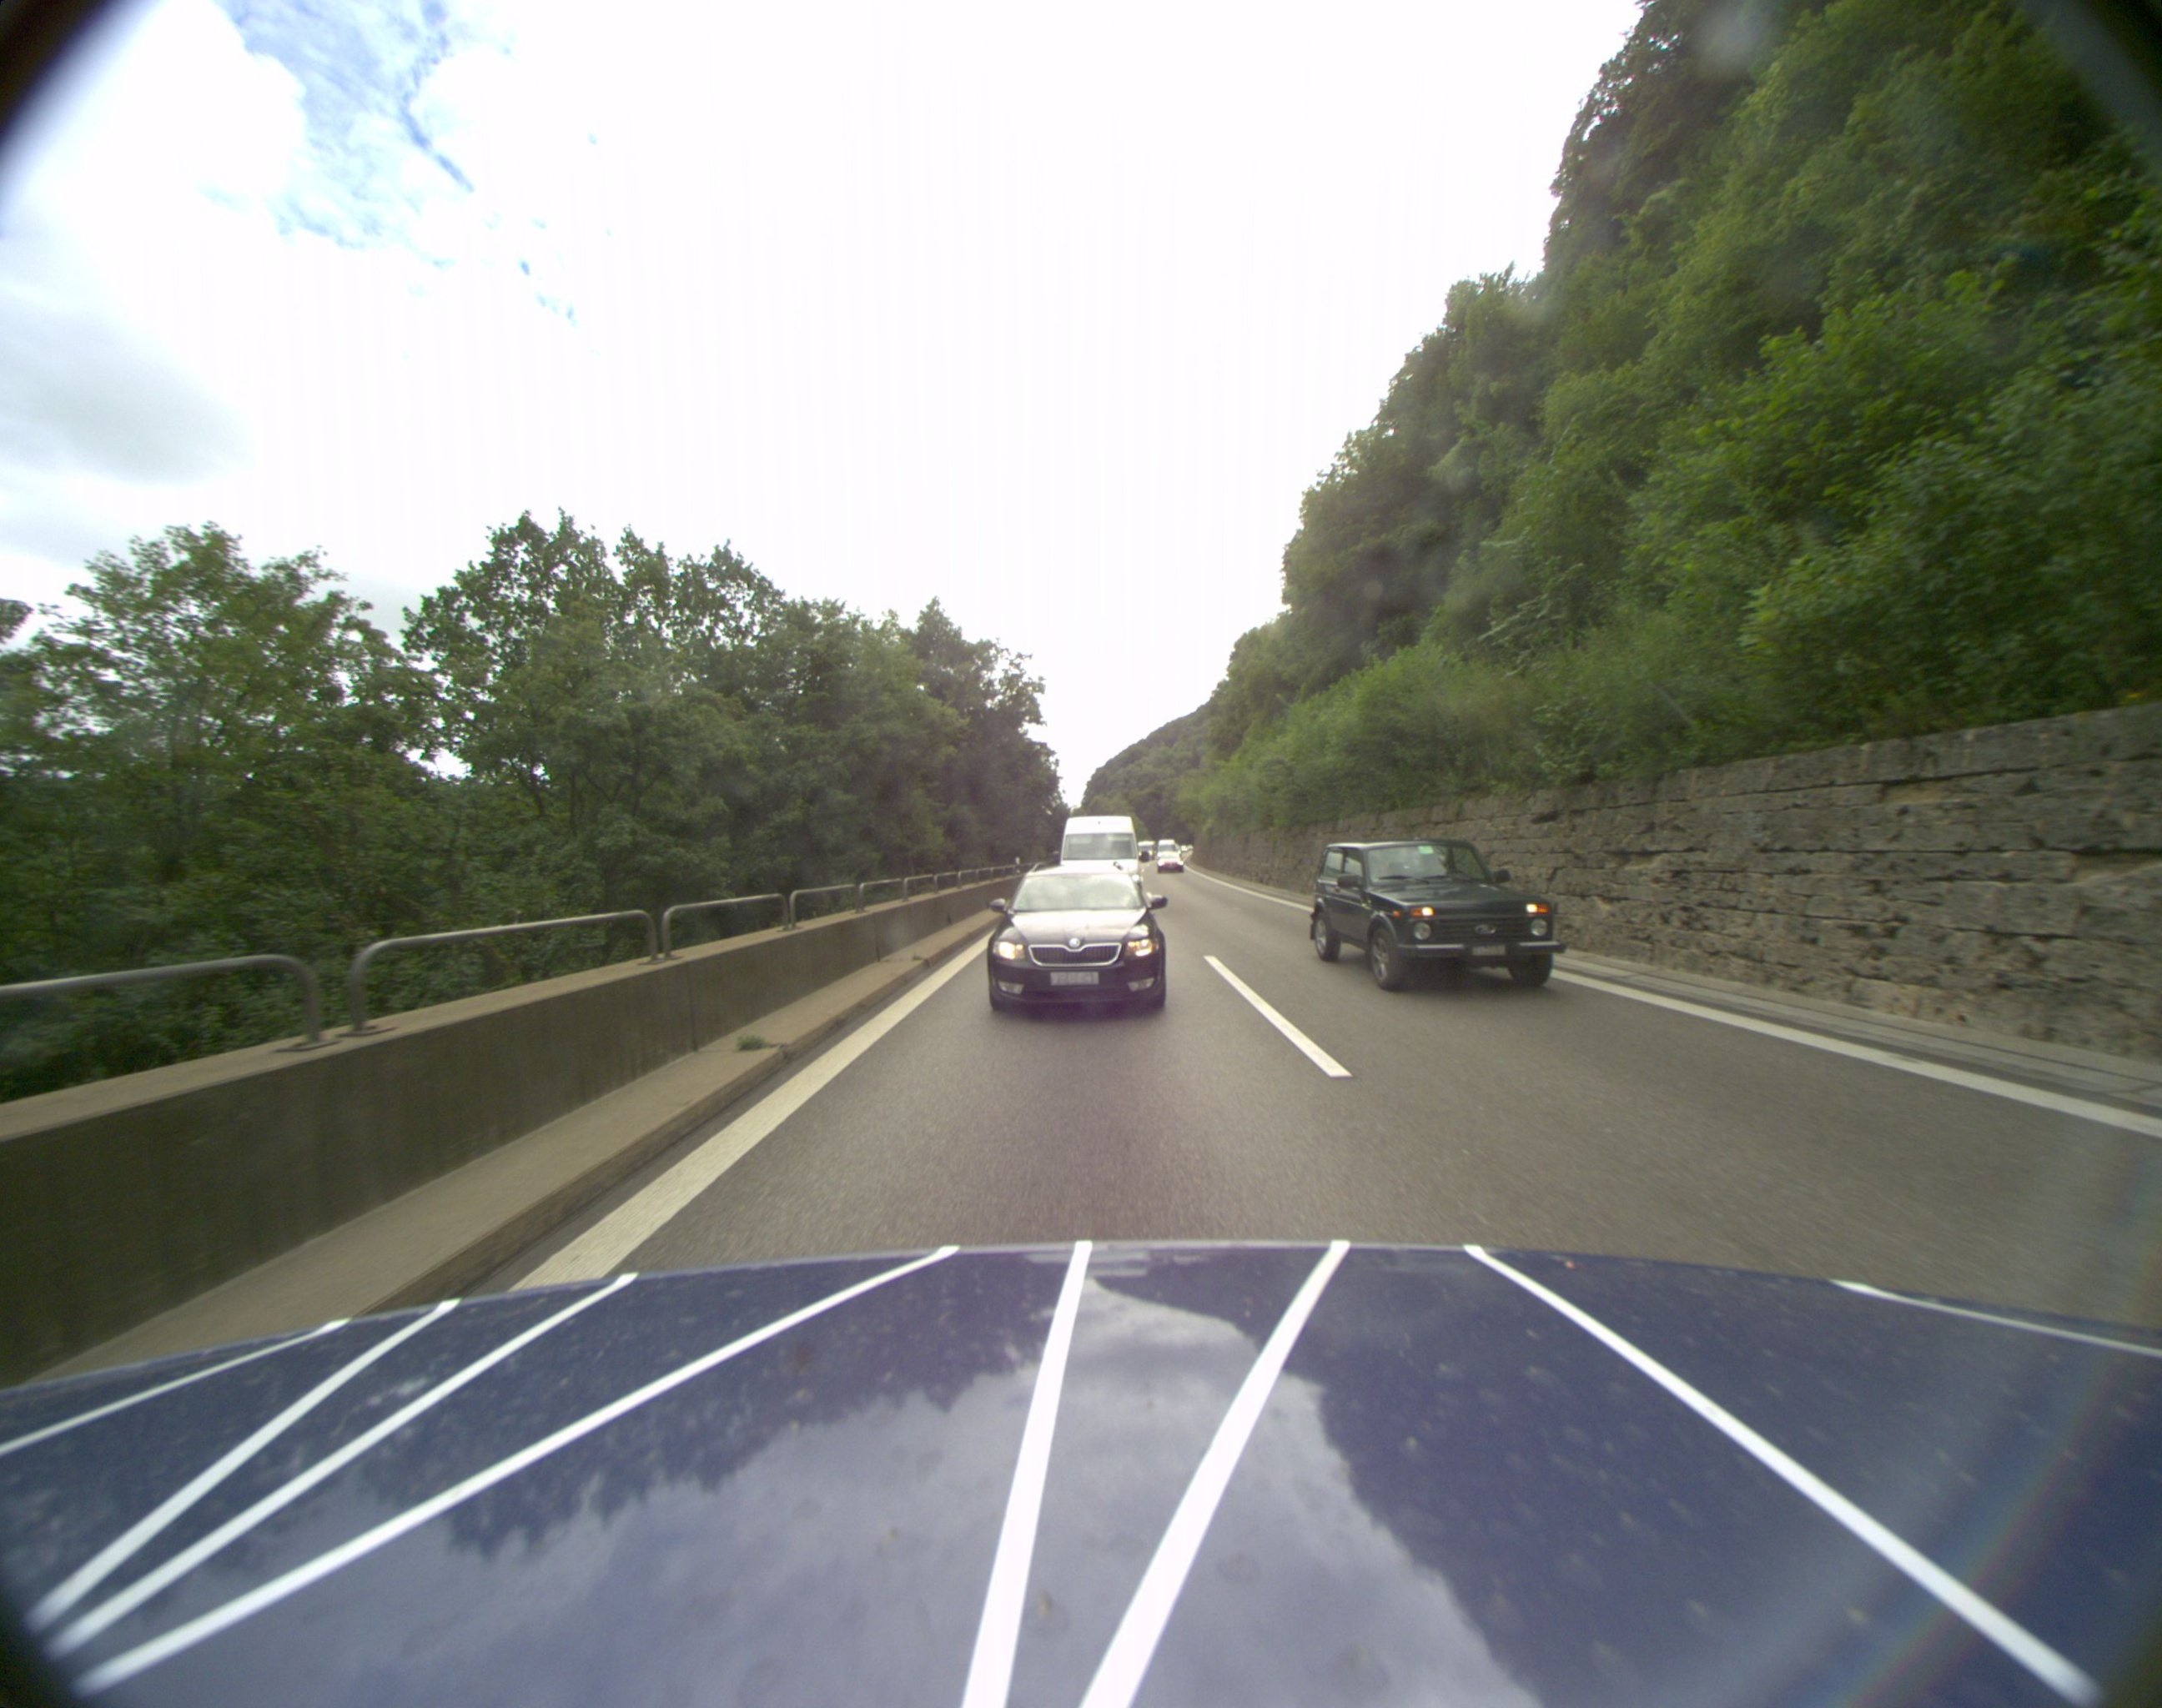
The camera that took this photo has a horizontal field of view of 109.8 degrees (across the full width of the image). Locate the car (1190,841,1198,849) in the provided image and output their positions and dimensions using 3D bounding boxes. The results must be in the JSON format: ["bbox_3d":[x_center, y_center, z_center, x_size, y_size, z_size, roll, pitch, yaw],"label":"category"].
[{"bbox_3d":[33.667,-2.629,226.391,1.998,2.002,4.001,-8,1,7],"label":"car"}]

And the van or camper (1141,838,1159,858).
[{"bbox_3d":[9.824,-0.925,108.282,2.269,2.527,5.913,-3,1,6],"label":"van or camper"}]

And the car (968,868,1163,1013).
[{"bbox_3d":[-0.090,0.956,10.479,1.998,1.389,5.009,-2,0,2],"label":"car"}]

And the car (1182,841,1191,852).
[{"bbox_3d":[24.698,-1.836,177.798,1.975,2.546,4.586,-2,1,9],"label":"car"}]

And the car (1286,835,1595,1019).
[{"bbox_3d":[3.975,0.662,9.398,1.812,1.646,4.584,-3,1,3],"label":"car"}]

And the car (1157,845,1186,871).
[{"bbox_3d":[6.348,0.265,53.738,1.812,1.646,4.584,-3,0,5],"label":"car"}]

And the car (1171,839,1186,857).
[{"bbox_3d":[14.523,-0.851,113.248,1.975,2.546,4.586,-2,0,9],"label":"car"}]

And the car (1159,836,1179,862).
[{"bbox_3d":[9.396,-0.498,81.085,1.975,2.628,4.585,-2,1,6],"label":"car"}]

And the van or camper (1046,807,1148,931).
[{"bbox_3d":[0.540,0.297,19.384,2.081,2.575,5.913,-3,1,4],"label":"van or camper"}]
